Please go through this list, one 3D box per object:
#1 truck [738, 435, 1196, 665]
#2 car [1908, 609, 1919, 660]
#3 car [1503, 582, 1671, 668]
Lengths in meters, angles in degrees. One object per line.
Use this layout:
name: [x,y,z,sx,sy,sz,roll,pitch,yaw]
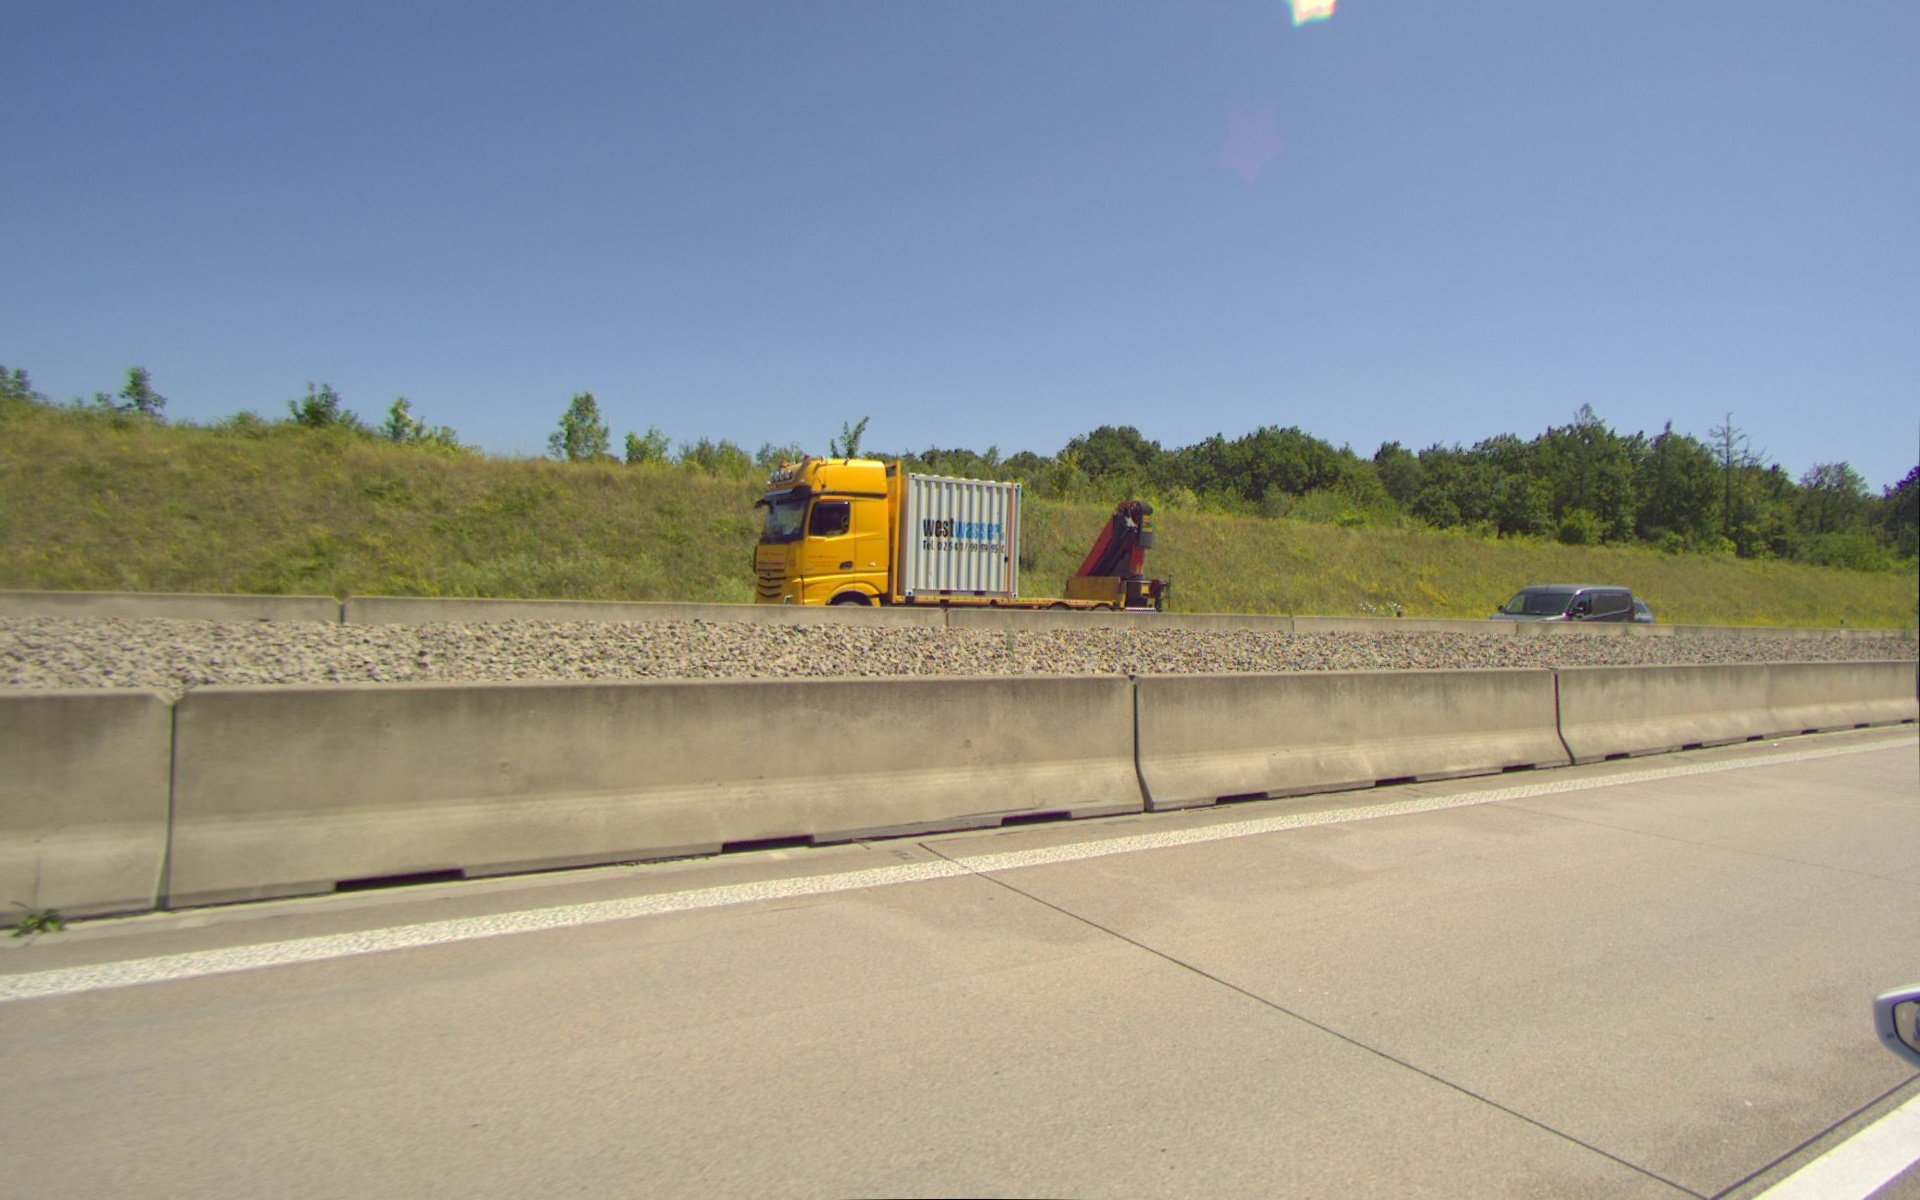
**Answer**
truck: [0.545,-0.866,24.124,11.130,4.573,2.899,2,-1,-31]
car: [40.929,1.448,41.219,4.412,2.040,1.982,2,-1,-33]
car: [16.171,0.652,25.863,4.412,2.040,1.982,2,-1,-33]
